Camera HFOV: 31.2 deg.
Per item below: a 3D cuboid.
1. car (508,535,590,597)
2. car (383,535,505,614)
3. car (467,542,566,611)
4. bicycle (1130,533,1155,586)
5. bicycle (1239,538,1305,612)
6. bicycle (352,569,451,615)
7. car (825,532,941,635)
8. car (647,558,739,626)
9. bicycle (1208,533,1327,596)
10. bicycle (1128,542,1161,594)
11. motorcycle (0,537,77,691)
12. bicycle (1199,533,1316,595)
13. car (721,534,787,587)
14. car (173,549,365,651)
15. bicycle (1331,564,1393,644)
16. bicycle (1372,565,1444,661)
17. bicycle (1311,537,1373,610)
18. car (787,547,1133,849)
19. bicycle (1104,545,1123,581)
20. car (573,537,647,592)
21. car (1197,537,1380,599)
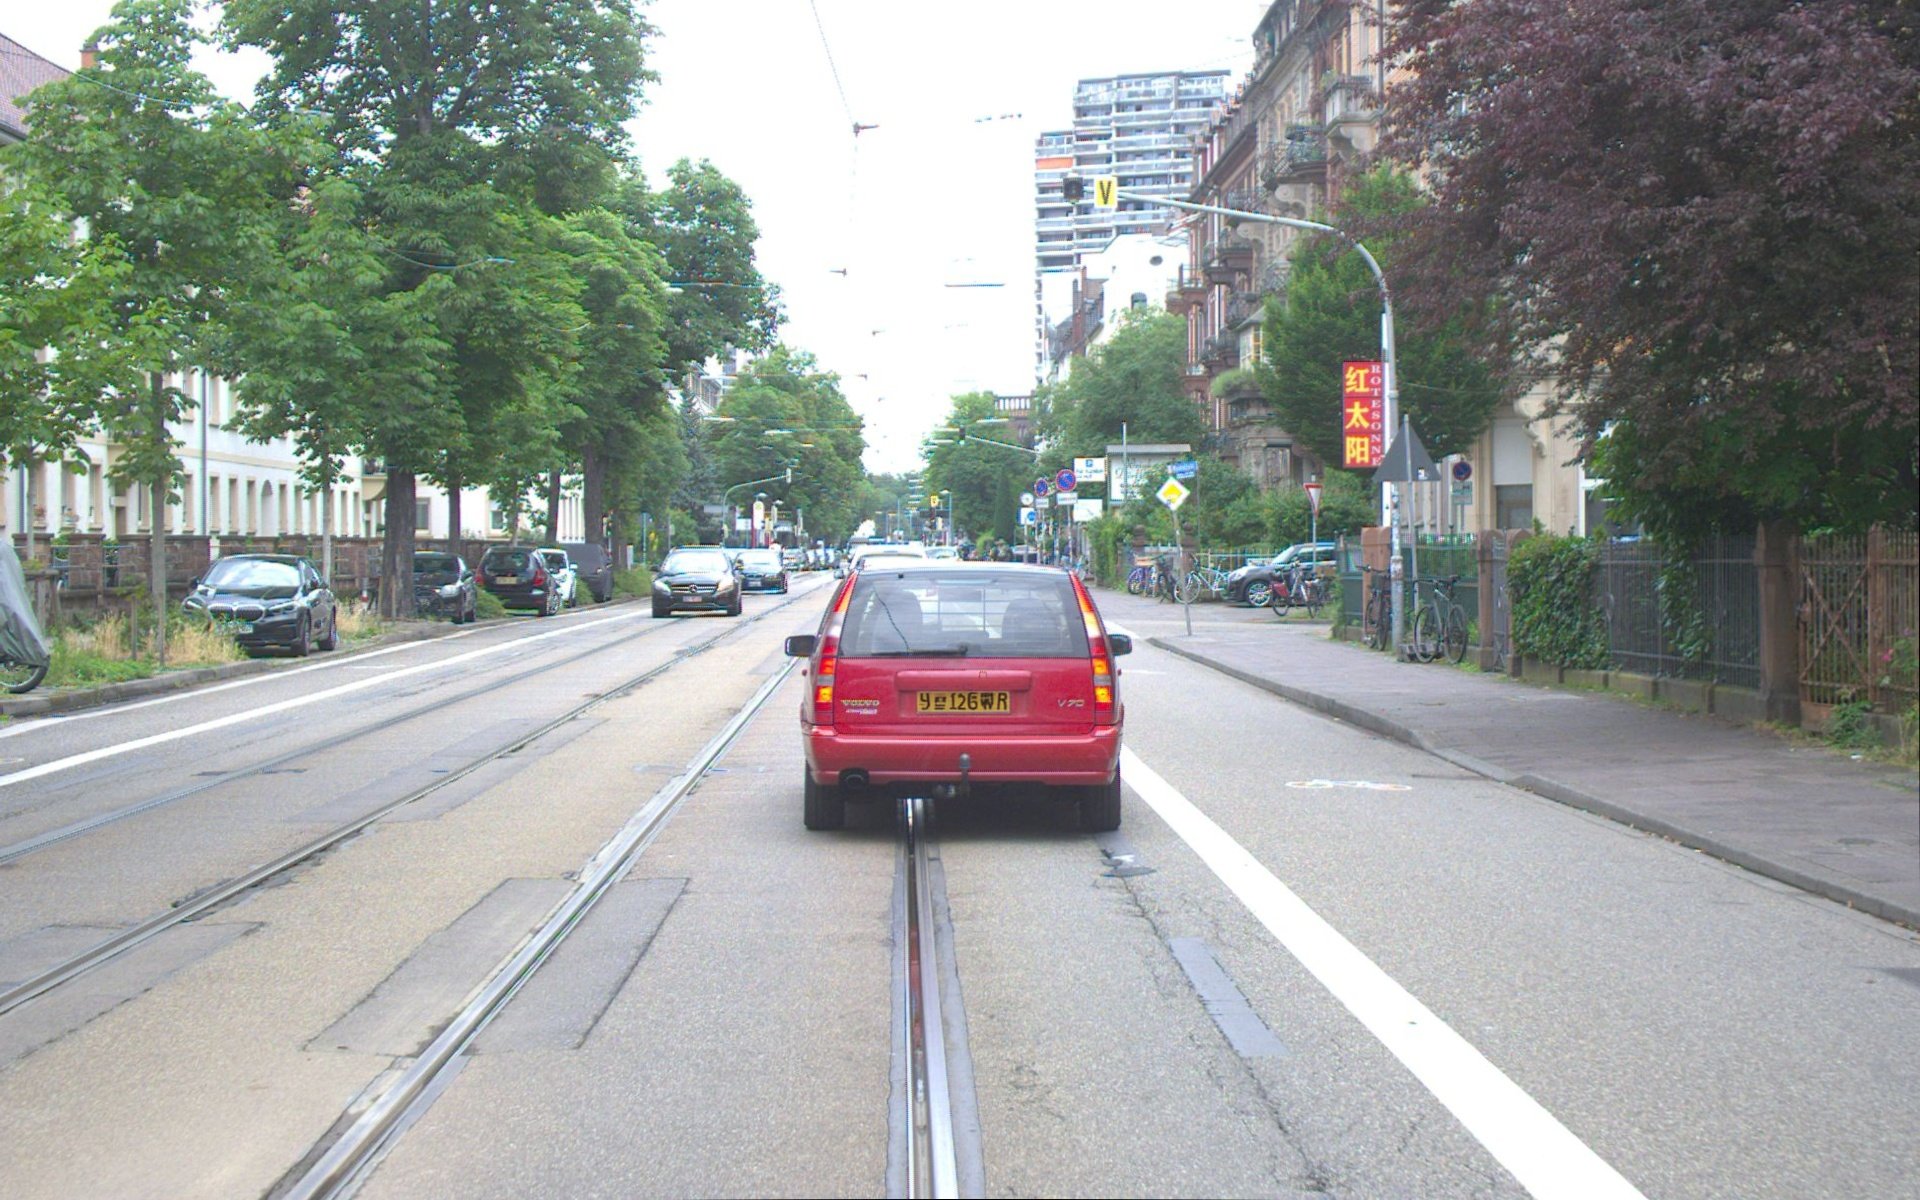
[{"bbox_3d":[-10.910,-0.927,91.356,1.713,1.575,4.000,1,1,-1],"label":"car"},{"bbox_3d":[-9.992,-0.517,66.802,1.718,1.477,4.000,0,1,1],"label":"car"},{"bbox_3d":[-10.316,-0.573,80.111,1.851,1.557,3.943,0,1,-1],"label":"car"},{"bbox_3d":[4.844,-1.093,91.444,0.551,1.395,1.734,0,1,-1],"label":"bicycle"},{"bbox_3d":[6.479,-0.540,71.386,0.918,1.501,2.379,1,1,16],"label":"bicycle"},{"bbox_3d":[-10.559,-0.156,65.034,1.748,0.841,0.684,0,1,0],"label":"bicycle"},{"bbox_3d":[-1.227,-0.298,56.033,1.719,1.619,3.941,0,1,1],"label":"car"},{"bbox_3d":[-5.654,-0.190,73.138,1.755,1.375,4.027,0,1,-2],"label":"car"},{"bbox_3d":[8.007,-0.924,89.585,2.975,1.619,1.050,0,1,-3],"label":"bicycle"},{"bbox_3d":[4.689,-0.819,87.420,0.708,1.296,1.904,0,1,-1],"label":"bicycle"},{"bbox_3d":[-10.074,0.134,34.775,2.269,1.506,0.925,1,0,34],"label":"motorcycle"},{"bbox_3d":[7.898,-0.958,91.318,2.975,1.619,1.050,0,1,-3],"label":"bicycle"},{"bbox_3d":[-6.495,-1.268,108.708,1.894,1.605,4.500,0,1,-1],"label":"car"},{"bbox_3d":[-9.977,-0.032,49.963,1.890,1.393,4.417,0,1,0],"label":"car"},{"bbox_3d":[5.354,0.041,45.905,0.523,1.027,2.176,0,1,-1],"label":"bicycle"},{"bbox_3d":[5.345,0.138,41.110,0.523,1.096,2.176,0,1,-1],"label":"bicycle"},{"bbox_3d":[8.077,-0.572,72.645,0.918,1.501,2.379,1,1,16],"label":"bicycle"},{"bbox_3d":[-0.036,0.456,18.927,1.689,1.436,3.743,1,1,-1],"label":"car"},{"bbox_3d":[4.744,-1.136,106.272,0.490,1.095,1.734,0,1,-1],"label":"bicycle"},{"bbox_3d":[-9.808,-1.014,96.510,1.720,1.481,4.000,0,1,-1],"label":"car"},{"bbox_3d":[7.437,-0.730,77.552,3.988,1.357,1.891,0,1,10],"label":"car"}]
